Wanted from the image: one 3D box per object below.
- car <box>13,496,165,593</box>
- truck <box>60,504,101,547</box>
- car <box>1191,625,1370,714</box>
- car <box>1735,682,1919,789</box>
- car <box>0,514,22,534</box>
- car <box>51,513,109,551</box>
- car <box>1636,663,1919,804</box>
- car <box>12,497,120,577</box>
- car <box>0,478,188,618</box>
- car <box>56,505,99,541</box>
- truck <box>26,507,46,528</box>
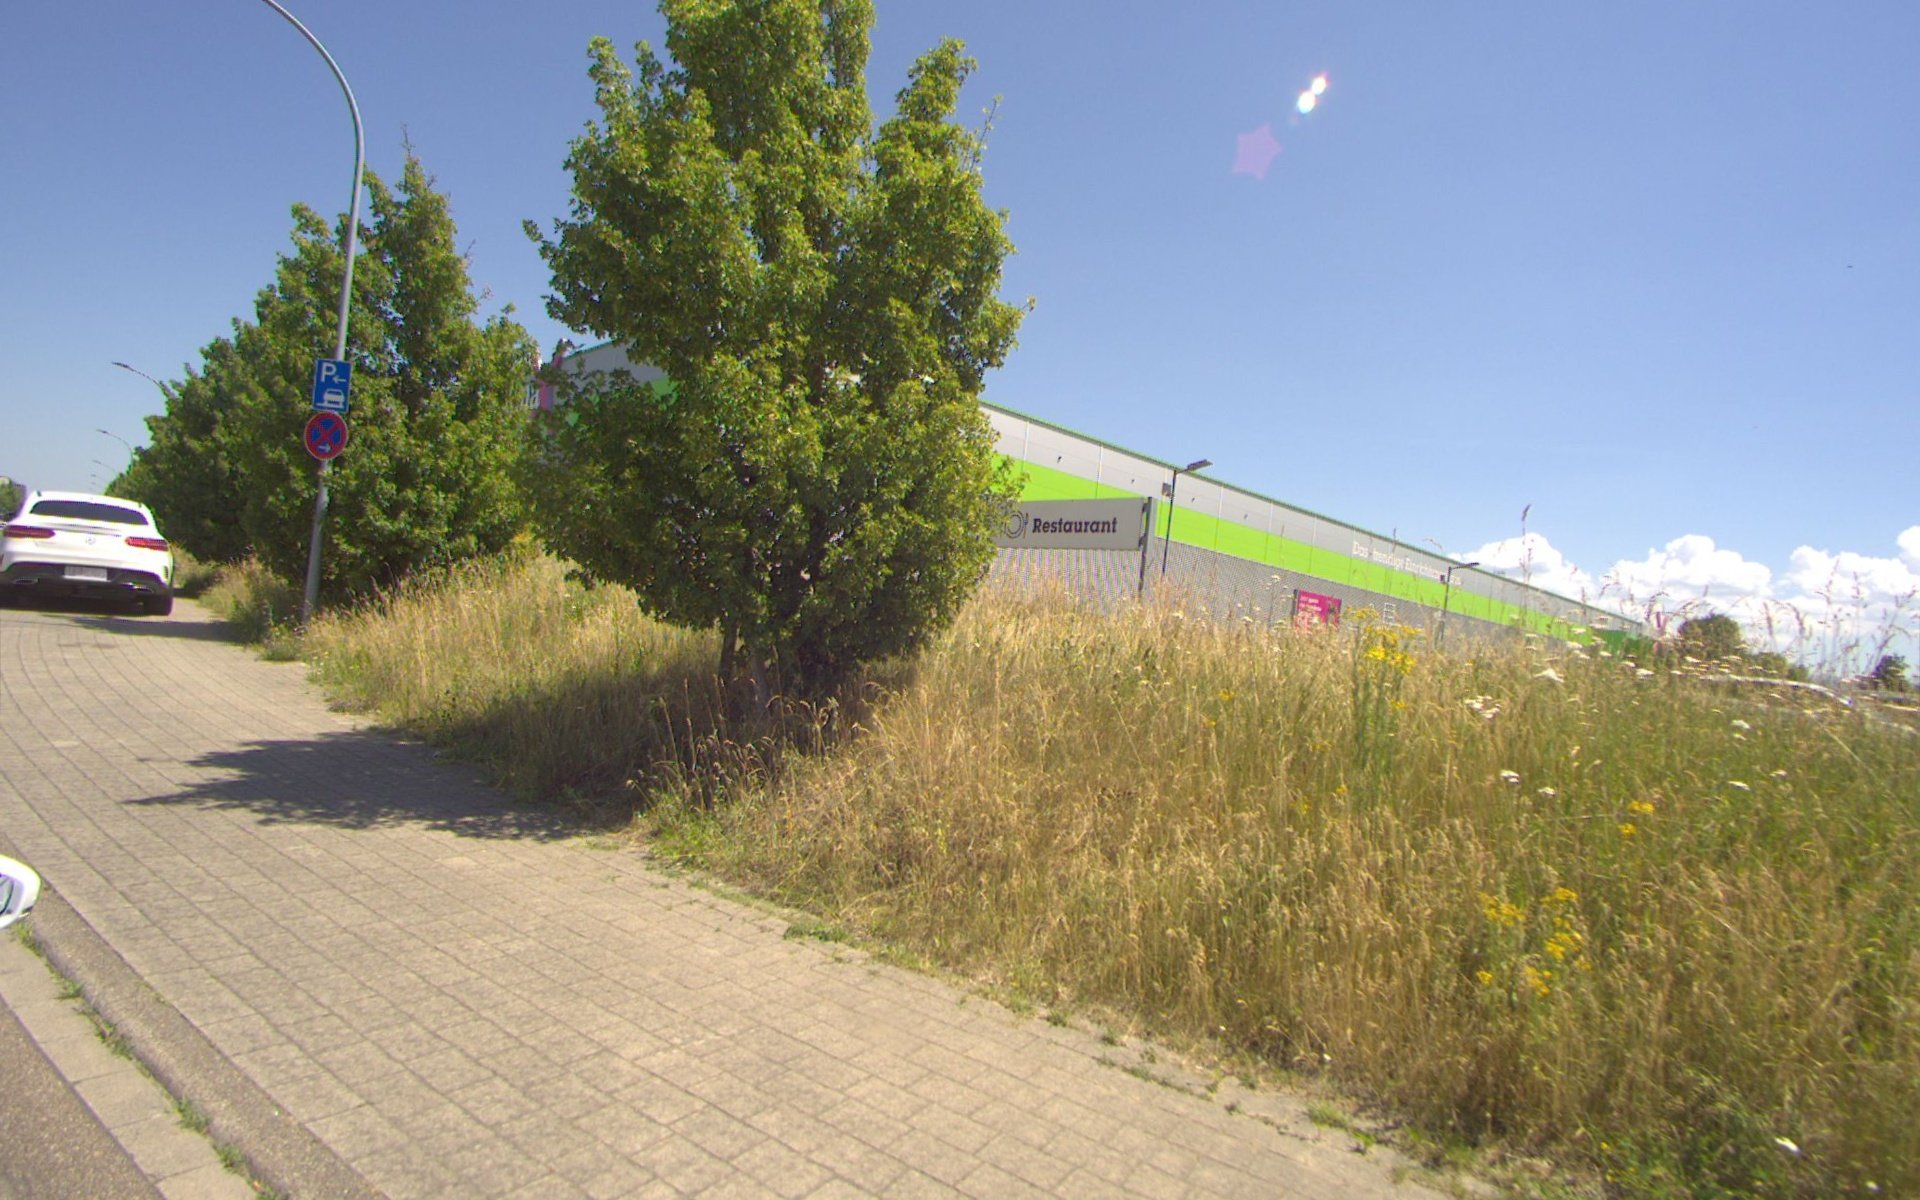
[{"bbox_3d":[-17.462,-1.121,20.079,4.571,1.548,1.899,5,-1,45],"label":"car"},{"bbox_3d":[-51.803,-4.359,59.240,1.672,2.208,4.340,5,-1,-42],"label":"truck"},{"bbox_3d":[9.151,1.952,28.961,1.986,1.873,4.349,7,0,-42],"label":"car"},{"bbox_3d":[19.995,3.024,22.071,1.987,1.889,4.351,7,-2,-42],"label":"car"},{"bbox_3d":[-81.448,-6.497,85.851,1.776,1.439,4.364,6,-1,-41],"label":"car"},{"bbox_3d":[-40.756,-3.167,46.560,1.709,1.501,4.714,6,-1,-44],"label":"car"},{"bbox_3d":[14.325,2.231,17.044,1.942,1.807,4.349,8,-3,-43],"label":"car"},{"bbox_3d":[-22.417,-1.581,25.270,1.797,1.656,4.407,6,-1,-42],"label":"car"},{"bbox_3d":[-13.735,-0.812,15.791,2.135,1.719,4.730,6,-1,-42],"label":"car"},{"bbox_3d":[-72.488,-6.271,82.699,2.258,2.527,6.086,7,-2,-39],"label":"car"},{"bbox_3d":[-177.034,-15.833,192.847,2.439,3.556,8.177,6,-1,-42],"label":"truck"}]
